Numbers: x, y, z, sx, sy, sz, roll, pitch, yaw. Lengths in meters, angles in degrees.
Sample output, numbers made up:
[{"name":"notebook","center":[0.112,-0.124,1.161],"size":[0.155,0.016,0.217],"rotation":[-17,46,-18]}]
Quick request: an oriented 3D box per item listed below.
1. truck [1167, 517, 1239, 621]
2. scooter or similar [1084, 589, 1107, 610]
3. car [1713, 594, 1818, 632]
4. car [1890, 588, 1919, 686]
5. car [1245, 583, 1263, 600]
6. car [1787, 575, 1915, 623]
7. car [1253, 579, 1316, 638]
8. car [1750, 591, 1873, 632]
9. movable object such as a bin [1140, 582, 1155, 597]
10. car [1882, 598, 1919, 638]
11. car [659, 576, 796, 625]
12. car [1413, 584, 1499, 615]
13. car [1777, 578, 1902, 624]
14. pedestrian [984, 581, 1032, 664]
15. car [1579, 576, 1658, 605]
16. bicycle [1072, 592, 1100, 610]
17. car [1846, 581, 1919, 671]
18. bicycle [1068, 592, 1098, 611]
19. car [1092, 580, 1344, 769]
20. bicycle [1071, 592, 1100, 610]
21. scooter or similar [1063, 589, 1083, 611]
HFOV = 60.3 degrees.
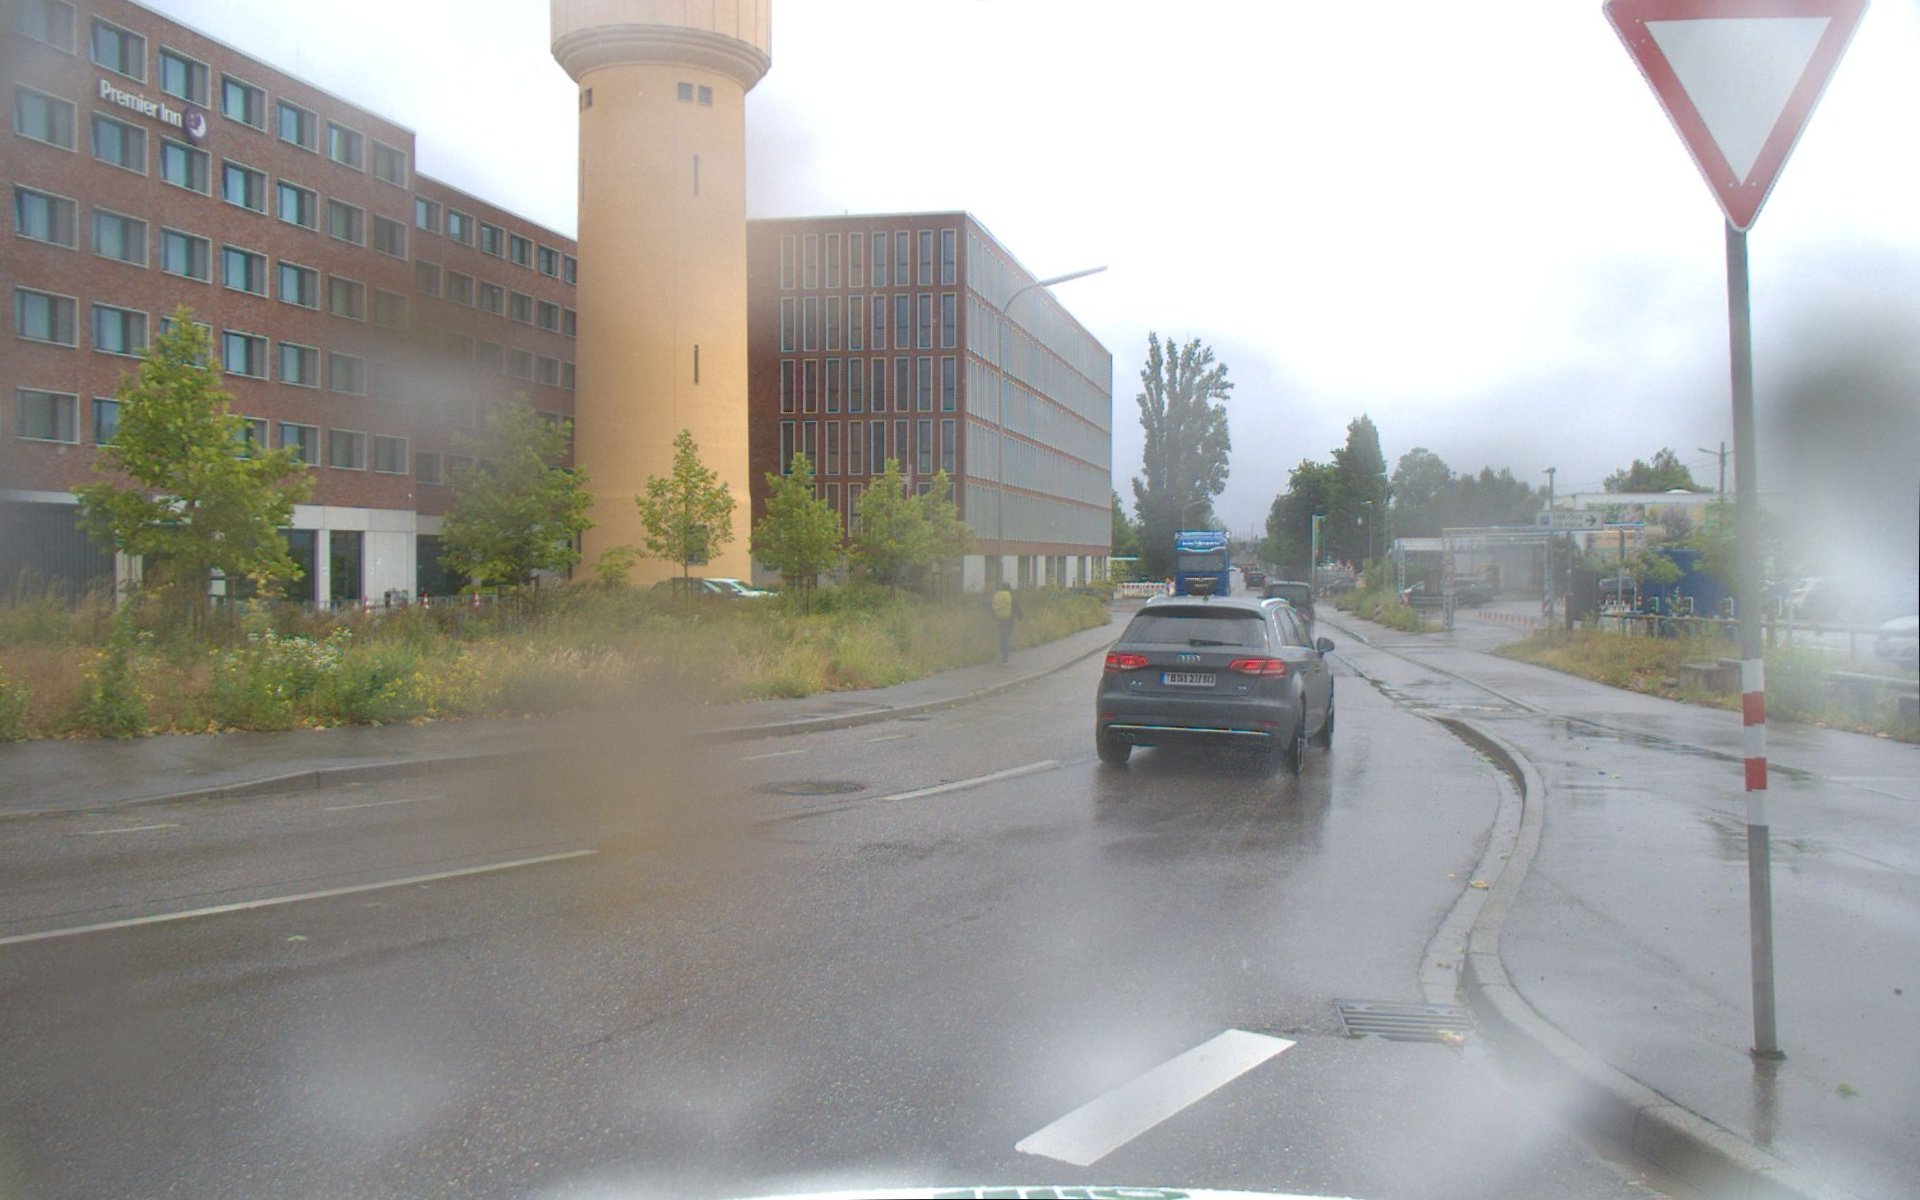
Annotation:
[{"name":"truck","center":[11.482,-1.437,78.267],"size":[3.224,4.735,6.038],"rotation":[0,0,8]},{"name":"scooter or similar","center":[7.948,-0.028,97.082],"size":[1.296,1.251,0.465],"rotation":[0,1,40]},{"name":"car","center":[35.288,0.582,72.523],"size":[3.748,1.510,1.929],"rotation":[-2,-1,13]},{"name":"car","center":[16.057,0.586,24.202],"size":[3.812,1.448,1.907],"rotation":[1,-1,8]},{"name":"car","center":[29.752,-0.834,167.276],"size":[1.693,1.716,3.900],"rotation":[1,0,12]},{"name":"car","center":[32.351,-0.008,60.119],"size":[3.694,1.611,1.788],"rotation":[-2,-1,13]},{"name":"car","center":[11.037,0.264,56.427],"size":[1.951,1.944,4.204],"rotation":[0,0,9]},{"name":"car","center":[33.897,0.462,65.959],"size":[3.958,1.510,1.929],"rotation":[-2,-1,13]},{"name":"movable object such as a bin","center":[16.926,-0.968,149.186],"size":[1.268,1.331,1.449],"rotation":[1,1,4]},{"name":"car","center":[31.523,0.535,51.524],"size":[4.489,1.242,1.980],"rotation":[-1,-1,9]},{"name":"car","center":[-8.200,0.010,58.494],"size":[4.425,1.670,2.002],"rotation":[1,0,7]},{"name":"car","center":[28.077,-0.013,93.763],"size":[4.581,1.765,2.129],"rotation":[0,-1,14]},{"name":"car","center":[33.481,0.042,63.047],"size":[3.819,1.611,1.788],"rotation":[-2,-1,13]},{"name":"pedestrian","center":[1.038,0.466,35.453],"size":[0.889,1.748,1.027],"rotation":[0,0,10]},{"name":"car","center":[38.048,-0.540,95.693],"size":[3.902,1.511,2.002],"rotation":[1,-1,11]},{"name":"bicycle","center":[8.369,0.066,109.751],"size":[1.820,1.096,0.545],"rotation":[2,0,9]},{"name":"car","center":[16.758,0.462,26.901],"size":[3.691,1.418,1.907],"rotation":[1,-1,8]},{"name":"bicycle","center":[7.980,0.092,107.386],"size":[1.907,1.096,0.621],"rotation":[2,0,9]},{"name":"car","center":[2.533,0.575,15.369],"size":[1.854,1.482,4.230],"rotation":[0,0,15]},{"name":"bicycle","center":[8.256,0.088,108.911],"size":[1.820,1.096,0.545],"rotation":[2,0,9]},{"name":"scooter or similar","center":[6.672,-0.015,97.863],"size":[1.195,1.251,0.461],"rotation":[-1,1,-38]}]
